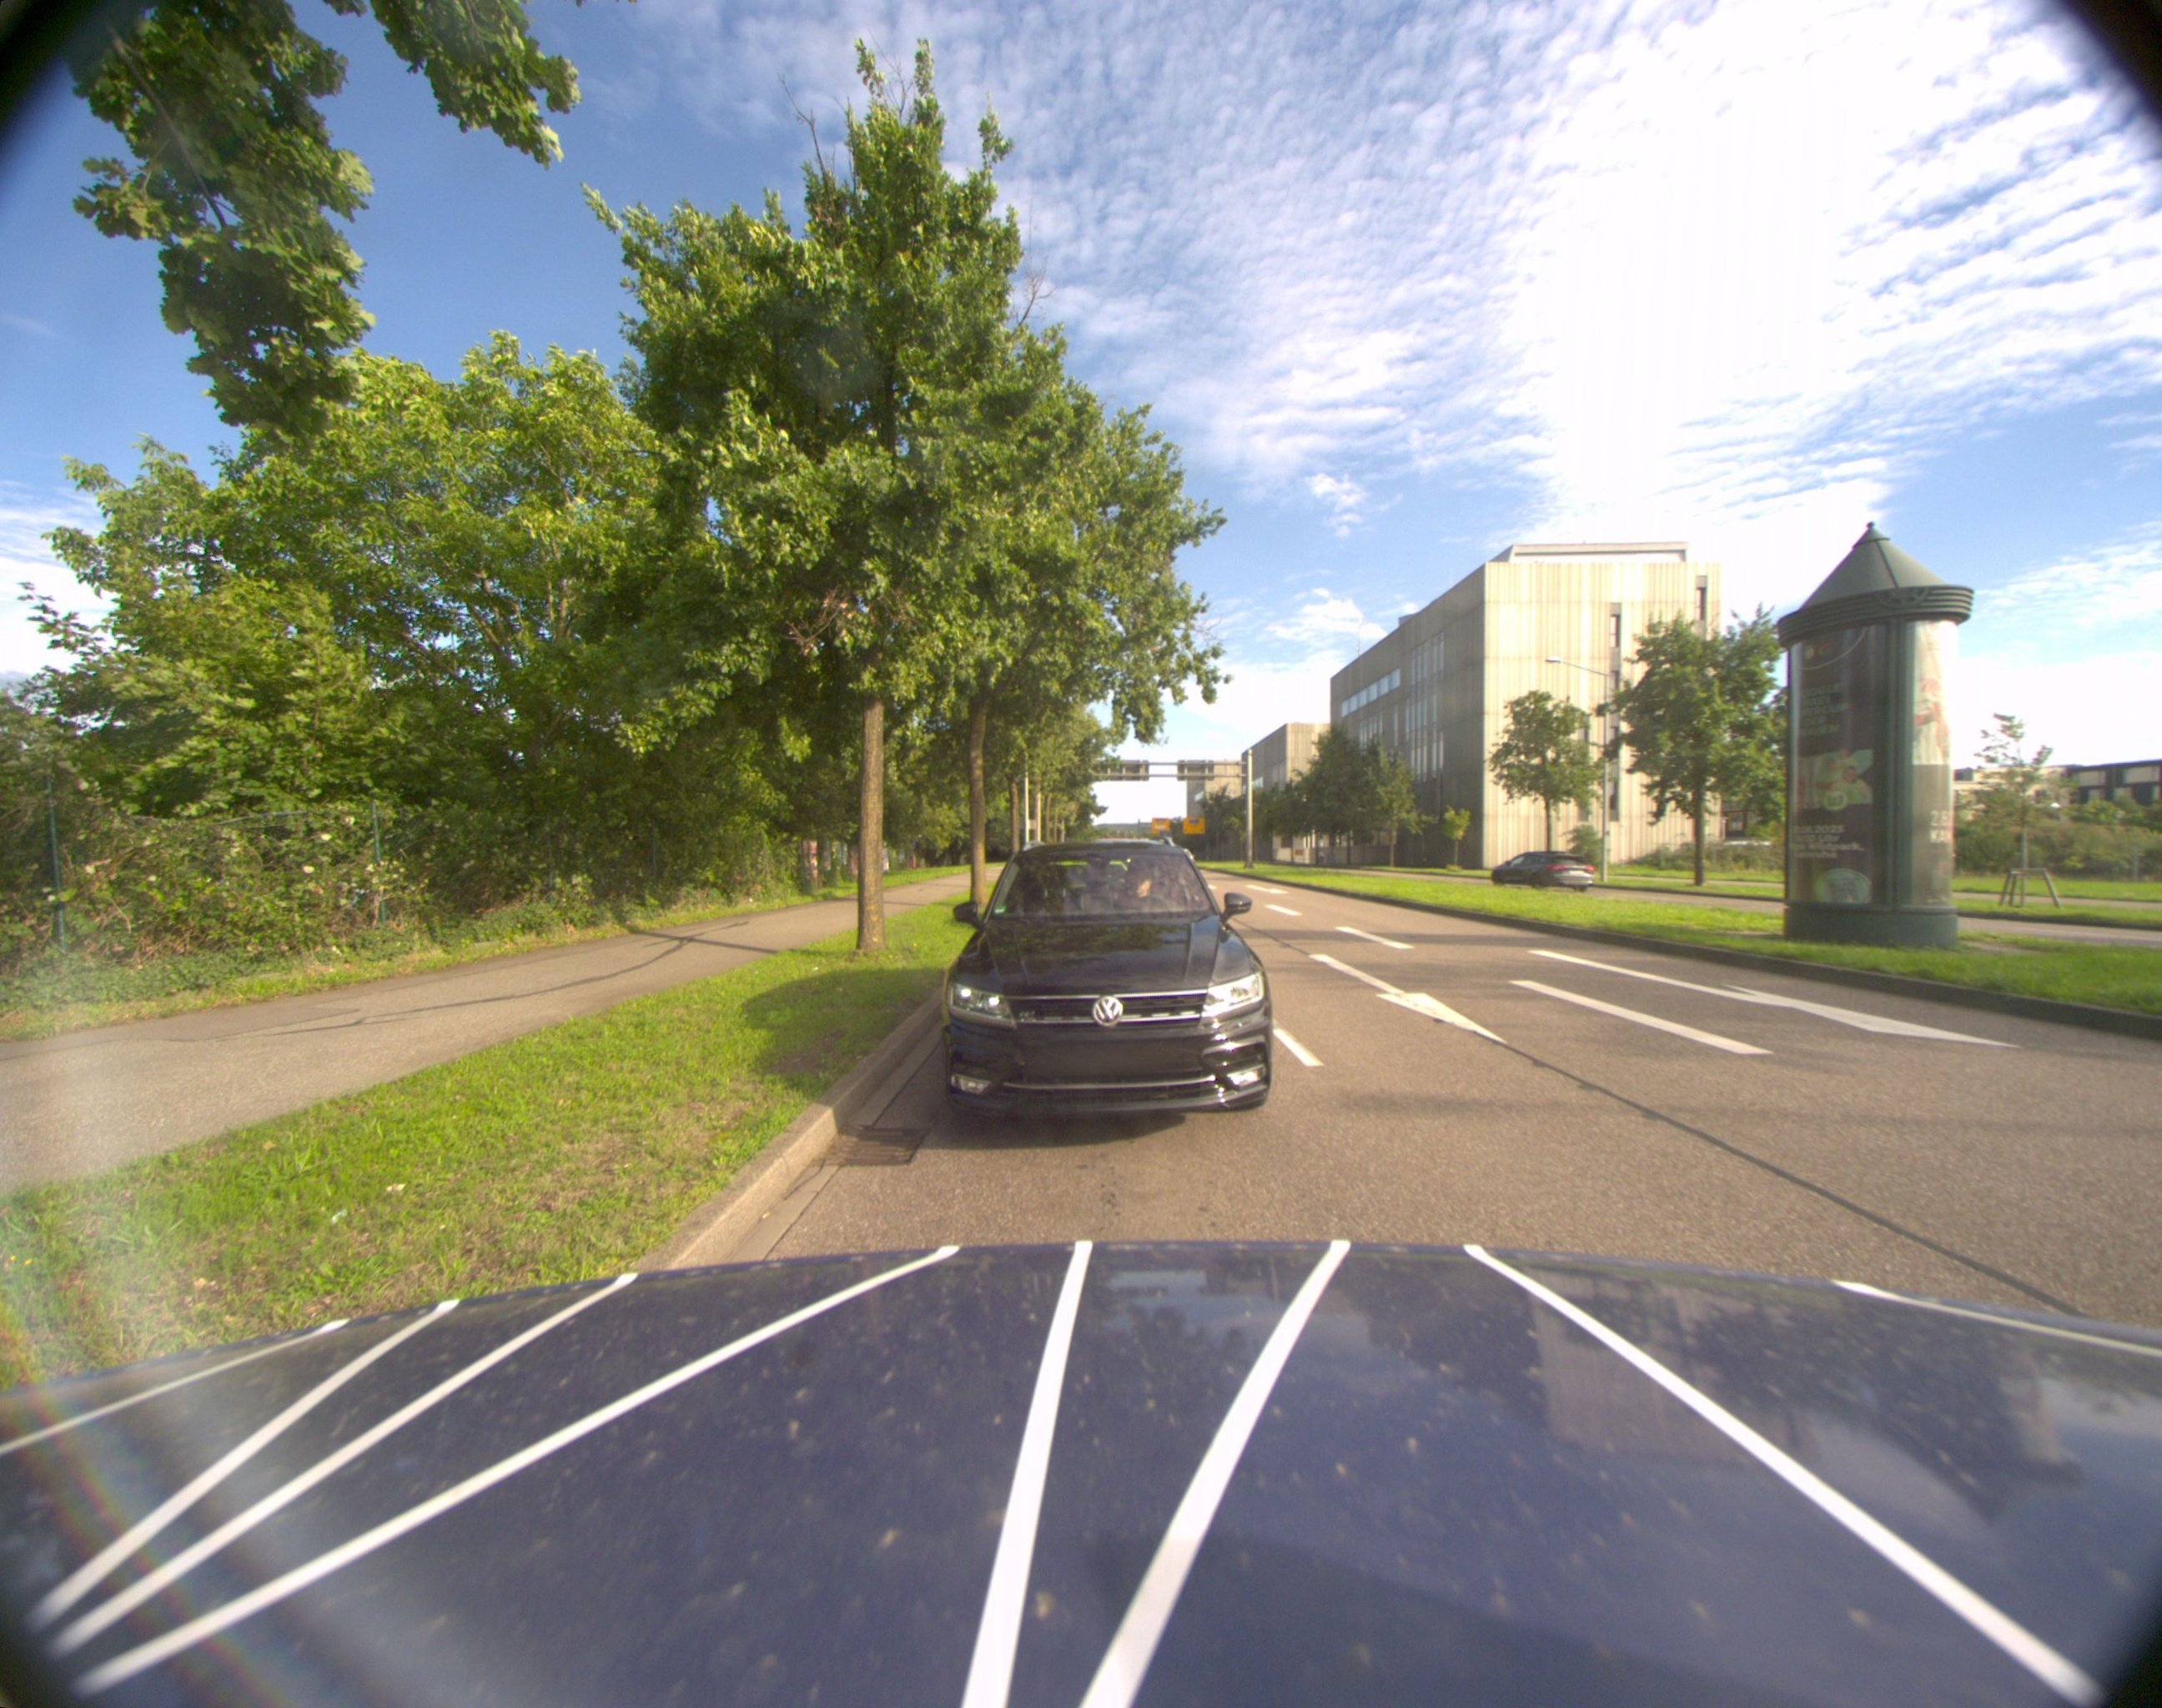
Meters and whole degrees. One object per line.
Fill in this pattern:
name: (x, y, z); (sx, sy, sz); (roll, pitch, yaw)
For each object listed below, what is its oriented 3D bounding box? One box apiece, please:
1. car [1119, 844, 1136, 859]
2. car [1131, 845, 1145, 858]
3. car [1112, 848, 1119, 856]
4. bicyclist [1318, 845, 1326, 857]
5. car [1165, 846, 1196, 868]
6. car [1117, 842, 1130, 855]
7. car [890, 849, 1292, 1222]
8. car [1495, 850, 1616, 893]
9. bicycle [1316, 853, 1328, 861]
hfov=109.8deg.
car: (5.448, -0.284, 88.753); (1.758, 1.696, 4.000); (-1, 0, 0)
car: (8.973, -0.386, 119.969); (1.998, 2.002, 4.000); (0, 0, 0)
car: (9.260, -0.492, 205.510); (1.798, 2.002, 4.000); (0, 0, 0)
bicyclist: (29.782, -0.382, 93.763); (0.707, 1.517, 0.989); (0, 1, 1)
car: (6.718, 0.172, 51.558); (1.745, 1.455, 4.000); (-1, 1, 3)
car: (5.607, -0.776, 100.509); (1.598, 1.660, 3.632); (0, 0, 0)
car: (0.099, 0.823, 5.388); (1.775, 1.637, 3.868); (-2, 1, 2)
car: (17.759, 0.609, 28.726); (1.905, 1.402, 4.207); (2, 1, 0)
bicycle: (29.795, 0.371, 93.823); (0.897, 0.975, 1.911); (0, 0, 1)
